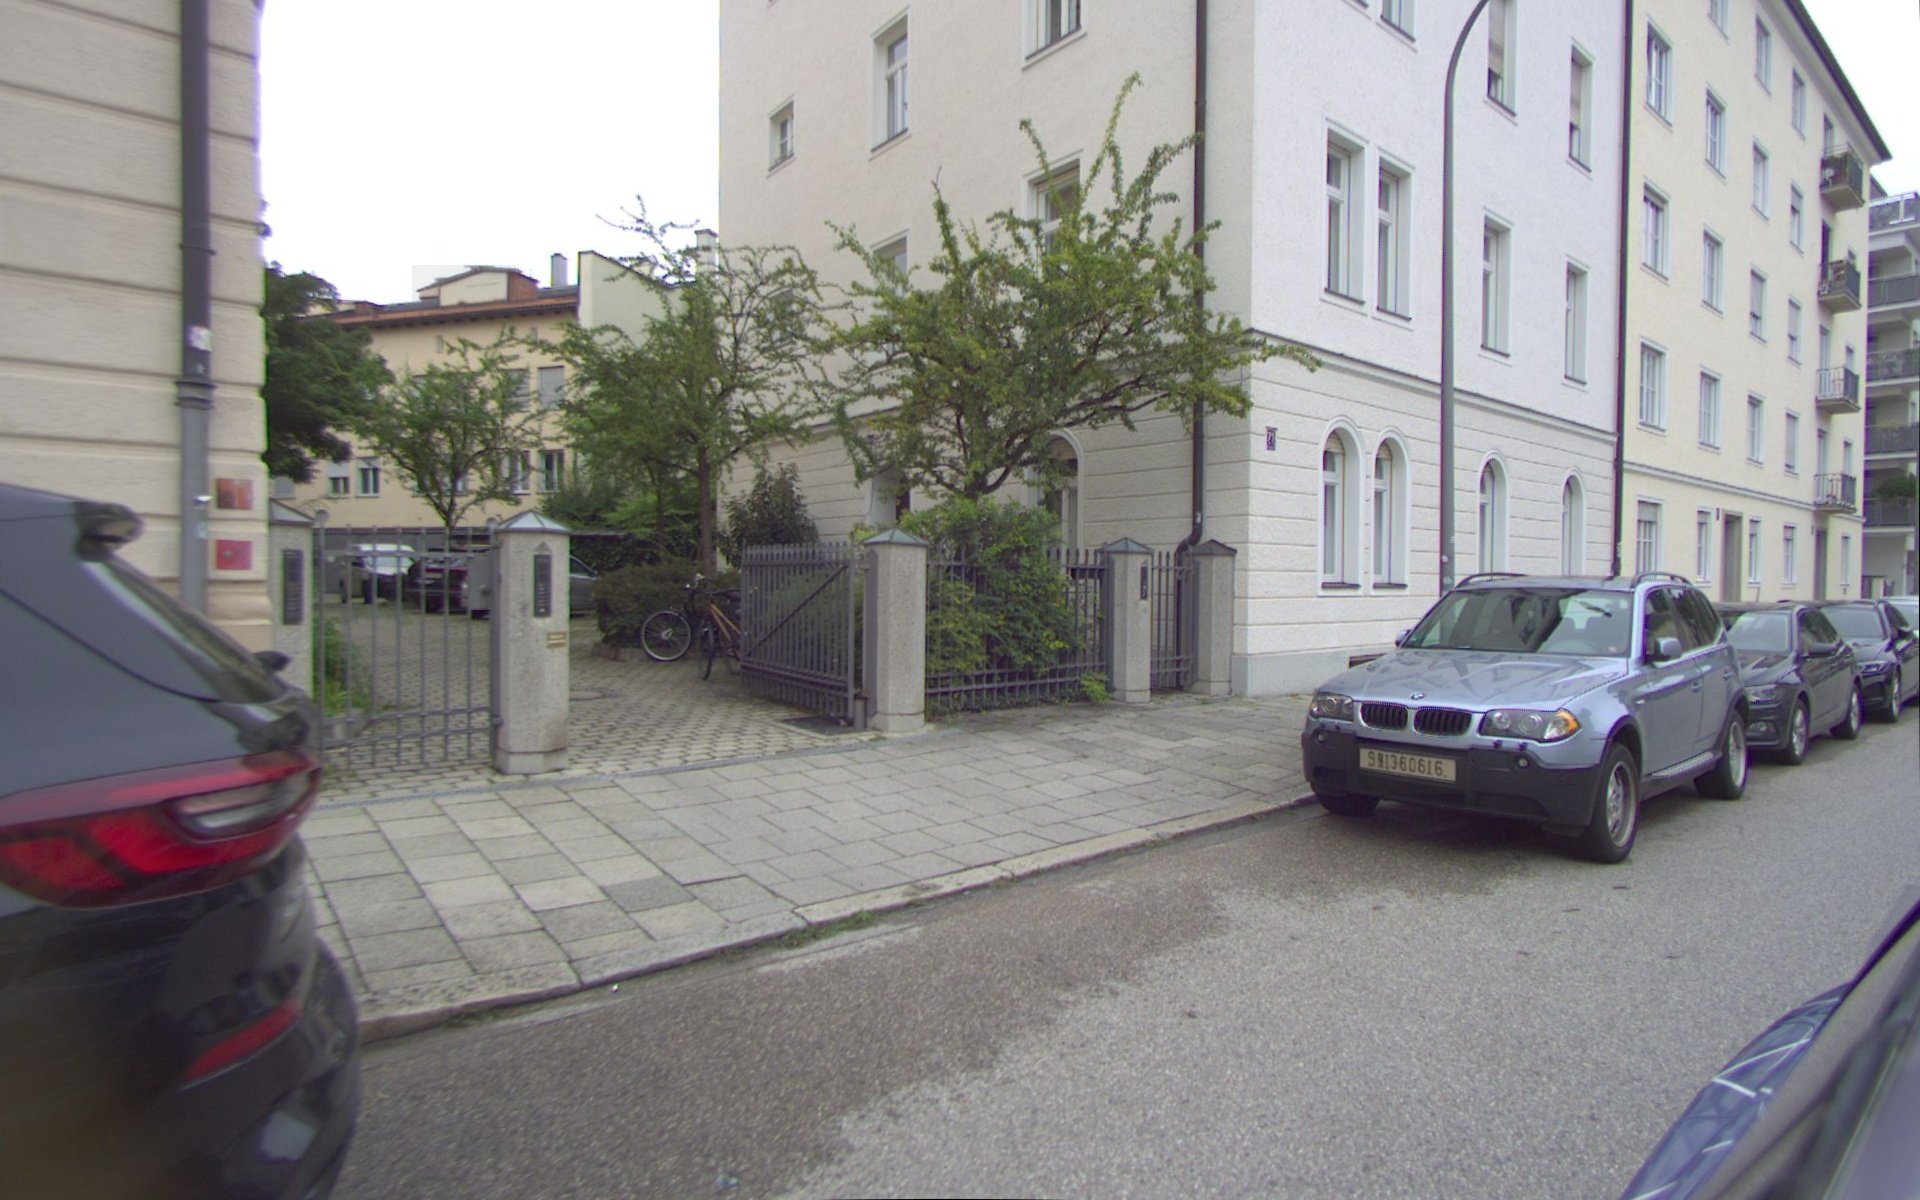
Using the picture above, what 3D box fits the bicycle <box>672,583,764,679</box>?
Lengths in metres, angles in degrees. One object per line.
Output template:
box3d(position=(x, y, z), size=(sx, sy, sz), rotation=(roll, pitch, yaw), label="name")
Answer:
box3d(position=(-2.931, 0.344, 12.189), size=(0.721, 1.074, 1.177), rotation=(0, 1, -33), label="bicycle")

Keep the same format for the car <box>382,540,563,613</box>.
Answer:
box3d(position=(-11.671, -0.550, 24.567), size=(1.969, 1.605, 3.986), rotation=(0, 1, 12), label="car")

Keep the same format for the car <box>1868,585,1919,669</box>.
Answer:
box3d(position=(19.535, 0.501, 20.240), size=(3.925, 1.563, 1.653), rotation=(0, 0, -42), label="car")

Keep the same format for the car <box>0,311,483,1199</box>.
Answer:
box3d(position=(-3.346, 0.520, 0.889), size=(4.934, 1.761, 2.174), rotation=(0, 0, -40), label="car")

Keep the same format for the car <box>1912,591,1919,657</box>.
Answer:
box3d(position=(23.075, 0.514, 22.958), size=(4.218, 1.448, 1.728), rotation=(0, 0, -41), label="car")

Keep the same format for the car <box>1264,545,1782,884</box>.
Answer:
box3d(position=(4.190, 0.534, 7.188), size=(4.420, 1.684, 1.849), rotation=(-1, 1, -41), label="car")

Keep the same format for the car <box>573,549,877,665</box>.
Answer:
box3d(position=(-3.363, 0.034, 14.867), size=(3.931, 1.475, 1.861), rotation=(-2, 2, -41), label="car")

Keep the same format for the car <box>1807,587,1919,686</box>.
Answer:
box3d(position=(15.566, 0.533, 16.796), size=(4.115, 1.468, 1.727), rotation=(0, 0, -41), label="car")

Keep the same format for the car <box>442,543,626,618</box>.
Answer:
box3d(position=(-9.499, -0.449, 22.935), size=(1.969, 1.538, 3.987), rotation=(0, 1, 12), label="car")

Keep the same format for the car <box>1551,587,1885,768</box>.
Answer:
box3d(position=(7.739, 0.615, 10.206), size=(4.011, 1.468, 1.831), rotation=(0, 0, -40), label="car")

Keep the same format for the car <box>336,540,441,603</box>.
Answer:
box3d(position=(-16.987, -0.808, 29.981), size=(1.965, 1.749, 4.355), rotation=(0, 1, -40), label="car")

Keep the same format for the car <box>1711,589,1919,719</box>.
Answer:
box3d(position=(11.905, 0.599, 13.650), size=(4.595, 1.468, 1.879), rotation=(0, 0, -40), label="car")
